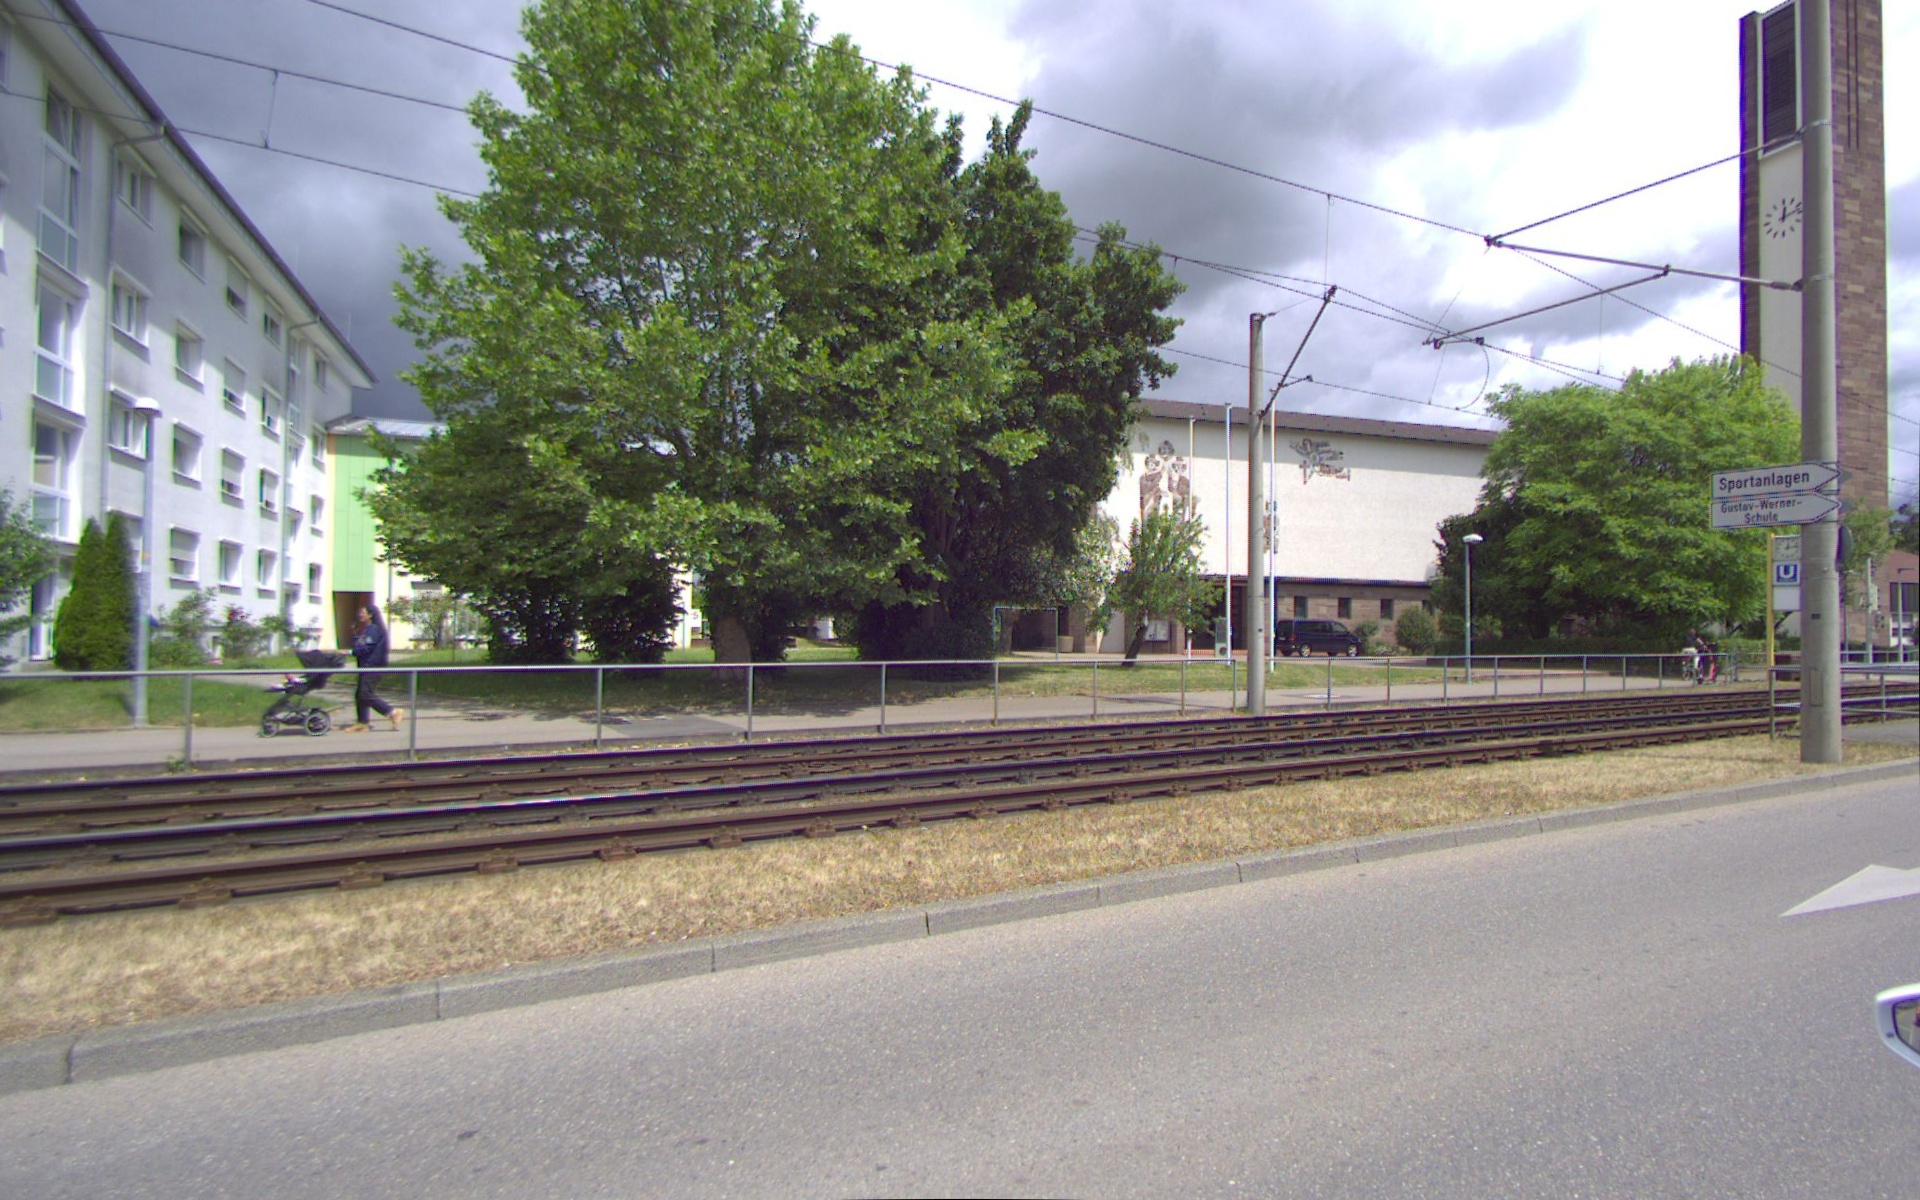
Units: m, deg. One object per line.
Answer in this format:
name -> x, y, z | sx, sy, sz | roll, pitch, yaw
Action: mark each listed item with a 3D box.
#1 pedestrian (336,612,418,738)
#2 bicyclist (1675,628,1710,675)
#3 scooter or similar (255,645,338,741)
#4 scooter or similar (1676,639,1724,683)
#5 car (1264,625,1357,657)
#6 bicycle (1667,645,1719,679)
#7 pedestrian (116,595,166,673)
pedestrian -> -7.510, 0.946, 12.934 | 0.864, 1.560, 0.609 | 2, -1, -32
bicyclist -> 23.342, 1.647, 32.011 | 0.781, 1.448, 0.630 | 1, 0, -30
scooter or similar -> -8.220, 1.132, 12.477 | 0.812, 1.130, 0.601 | 2, -1, -32
scooter or similar -> 22.270, 1.821, 30.217 | 1.384, 1.253, 0.646 | 1, 0, -30
car -> 18.968, 2.206, 54.423 | 4.399, 1.595, 1.995 | 2, 0, -13
bicycle -> 23.282, 1.954, 31.903 | 1.906, 1.007, 0.634 | 2, 0, -31
pedestrian -> -17.082, 0.704, 20.958 | 0.507, 1.561, 0.681 | 6, -2, -24
